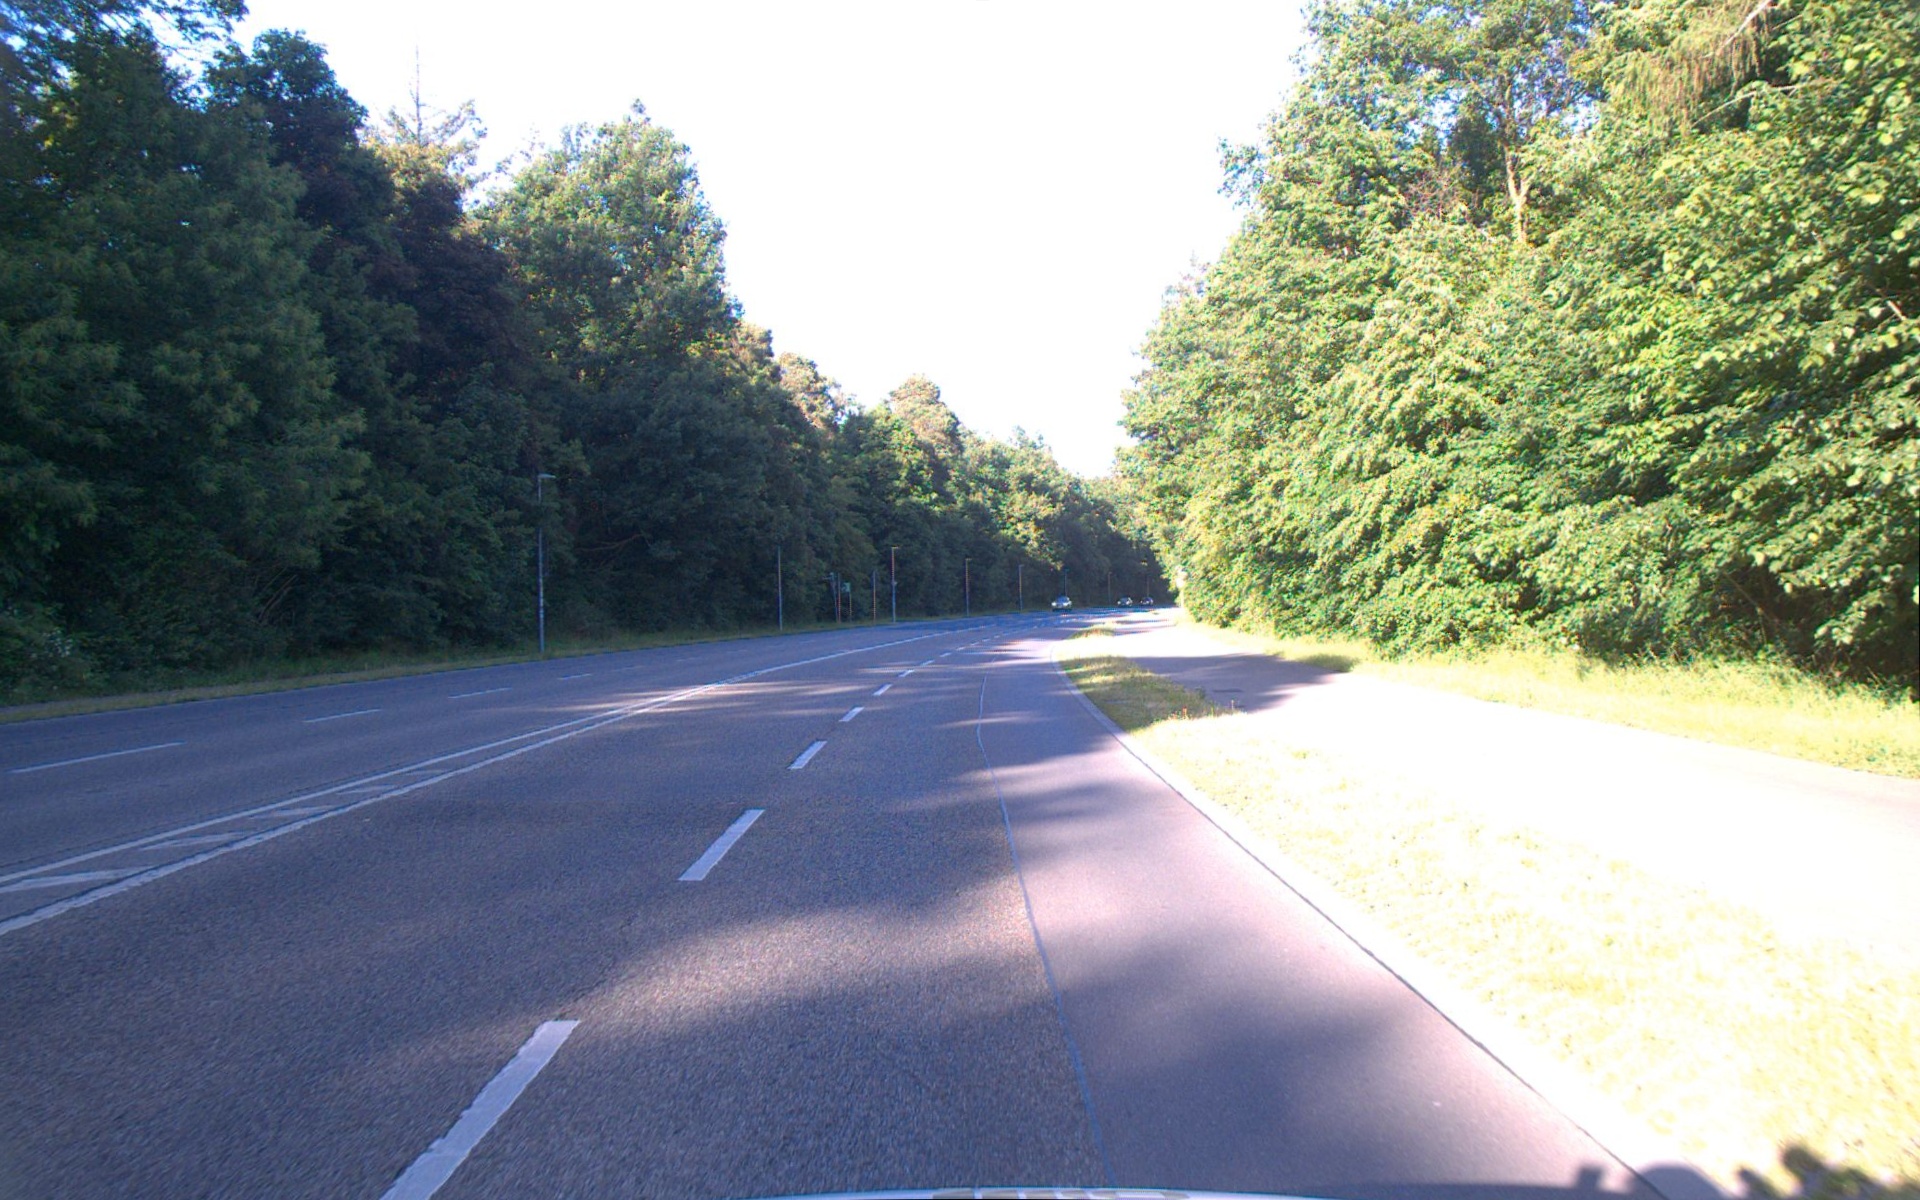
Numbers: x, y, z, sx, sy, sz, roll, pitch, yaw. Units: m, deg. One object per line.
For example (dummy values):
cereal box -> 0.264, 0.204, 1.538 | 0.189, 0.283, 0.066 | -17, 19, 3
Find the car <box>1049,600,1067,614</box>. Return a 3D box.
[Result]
car -> 11.259, 0.830, 189.734 | 1.952, 1.613, 4.001 | 0, -1, 2

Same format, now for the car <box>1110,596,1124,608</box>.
car -> 23.501, 0.298, 247.652 | 1.951, 1.613, 4.003 | 0, -1, 8
